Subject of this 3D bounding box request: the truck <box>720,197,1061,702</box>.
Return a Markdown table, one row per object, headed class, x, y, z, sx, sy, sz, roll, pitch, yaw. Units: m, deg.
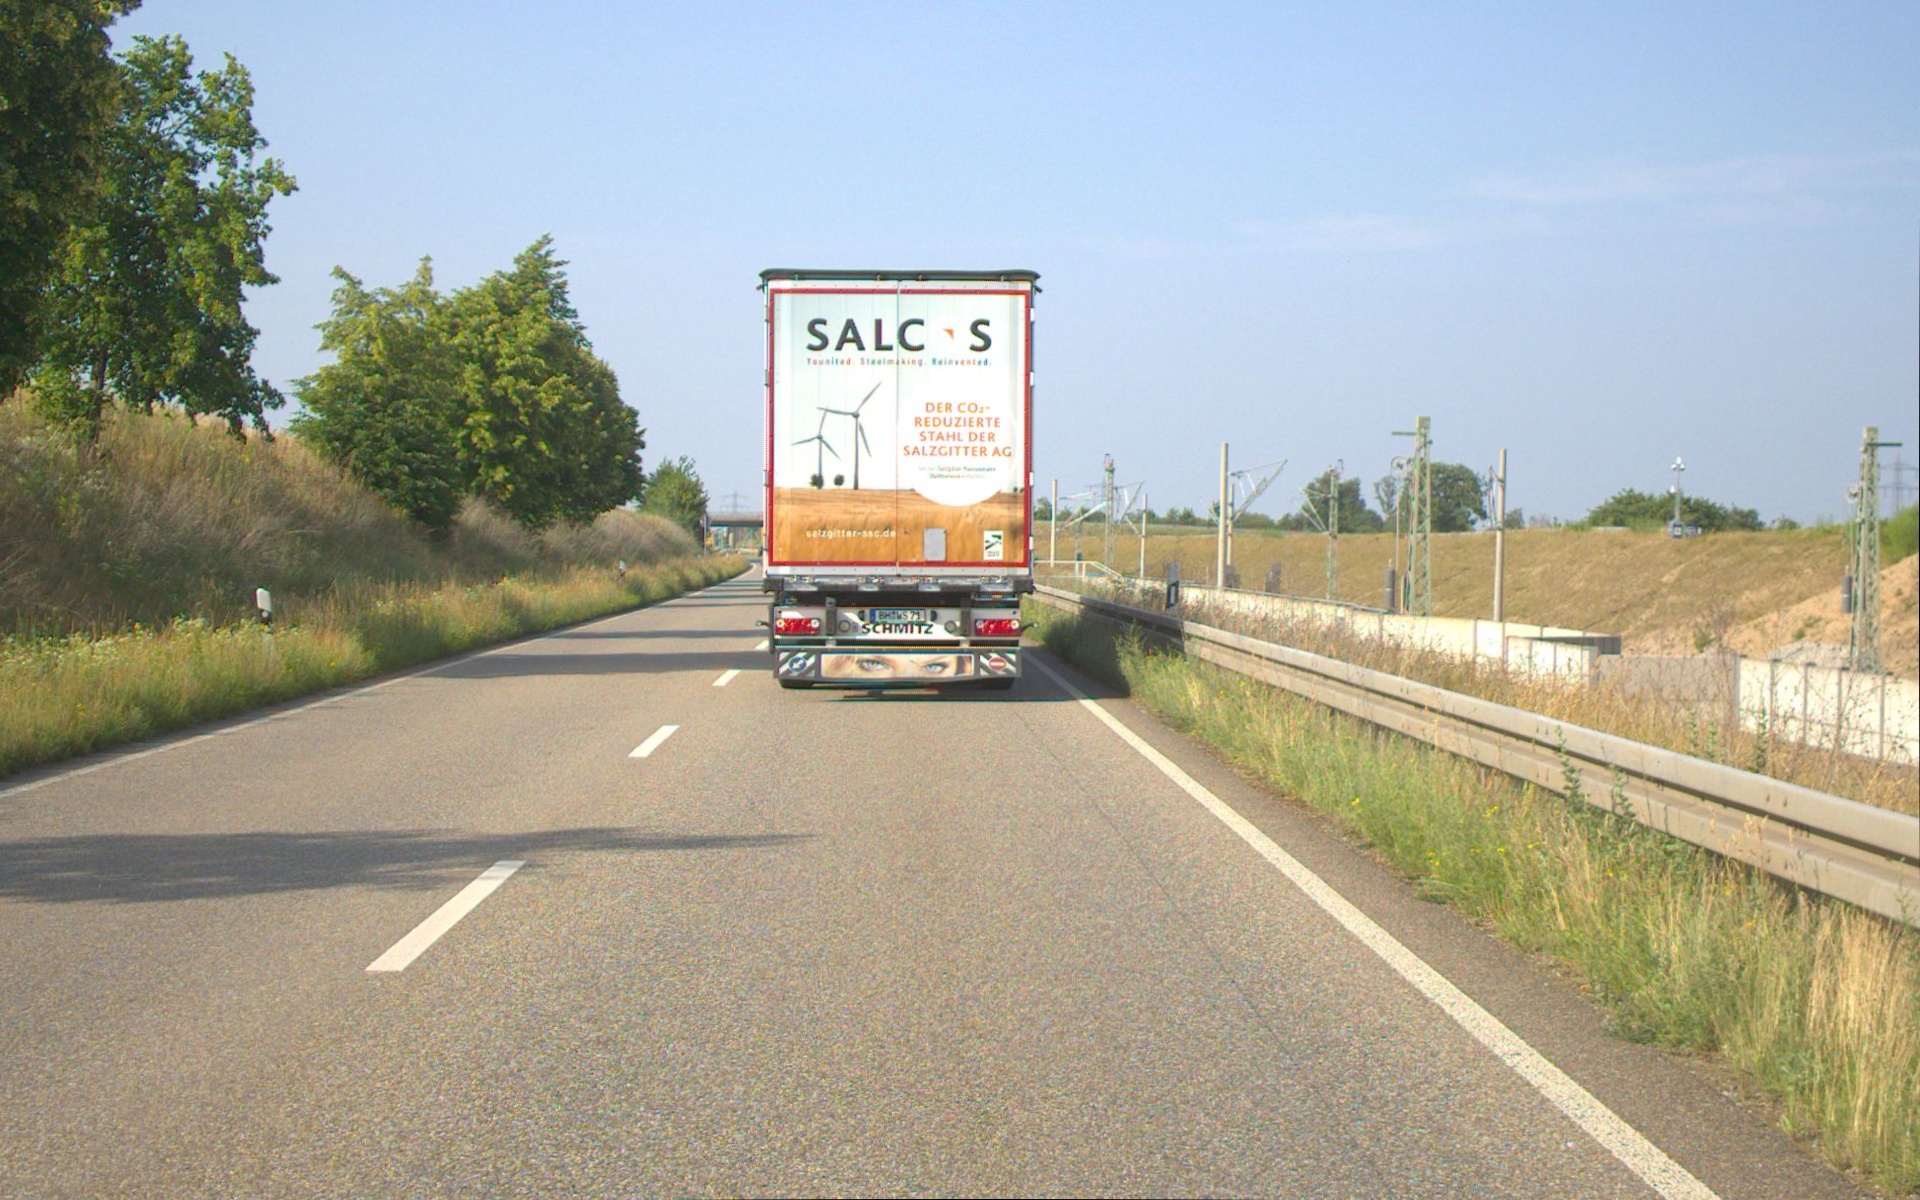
| class | x | y | z | sx | sy | sz | roll | pitch | yaw |
| --- | --- | --- | --- | --- | --- | --- | --- | --- | --- |
| truck | -0.673 | -1.481 | 36.166 | 3.153 | 4.672 | 8.442 | 0 | 1 | 0 |
